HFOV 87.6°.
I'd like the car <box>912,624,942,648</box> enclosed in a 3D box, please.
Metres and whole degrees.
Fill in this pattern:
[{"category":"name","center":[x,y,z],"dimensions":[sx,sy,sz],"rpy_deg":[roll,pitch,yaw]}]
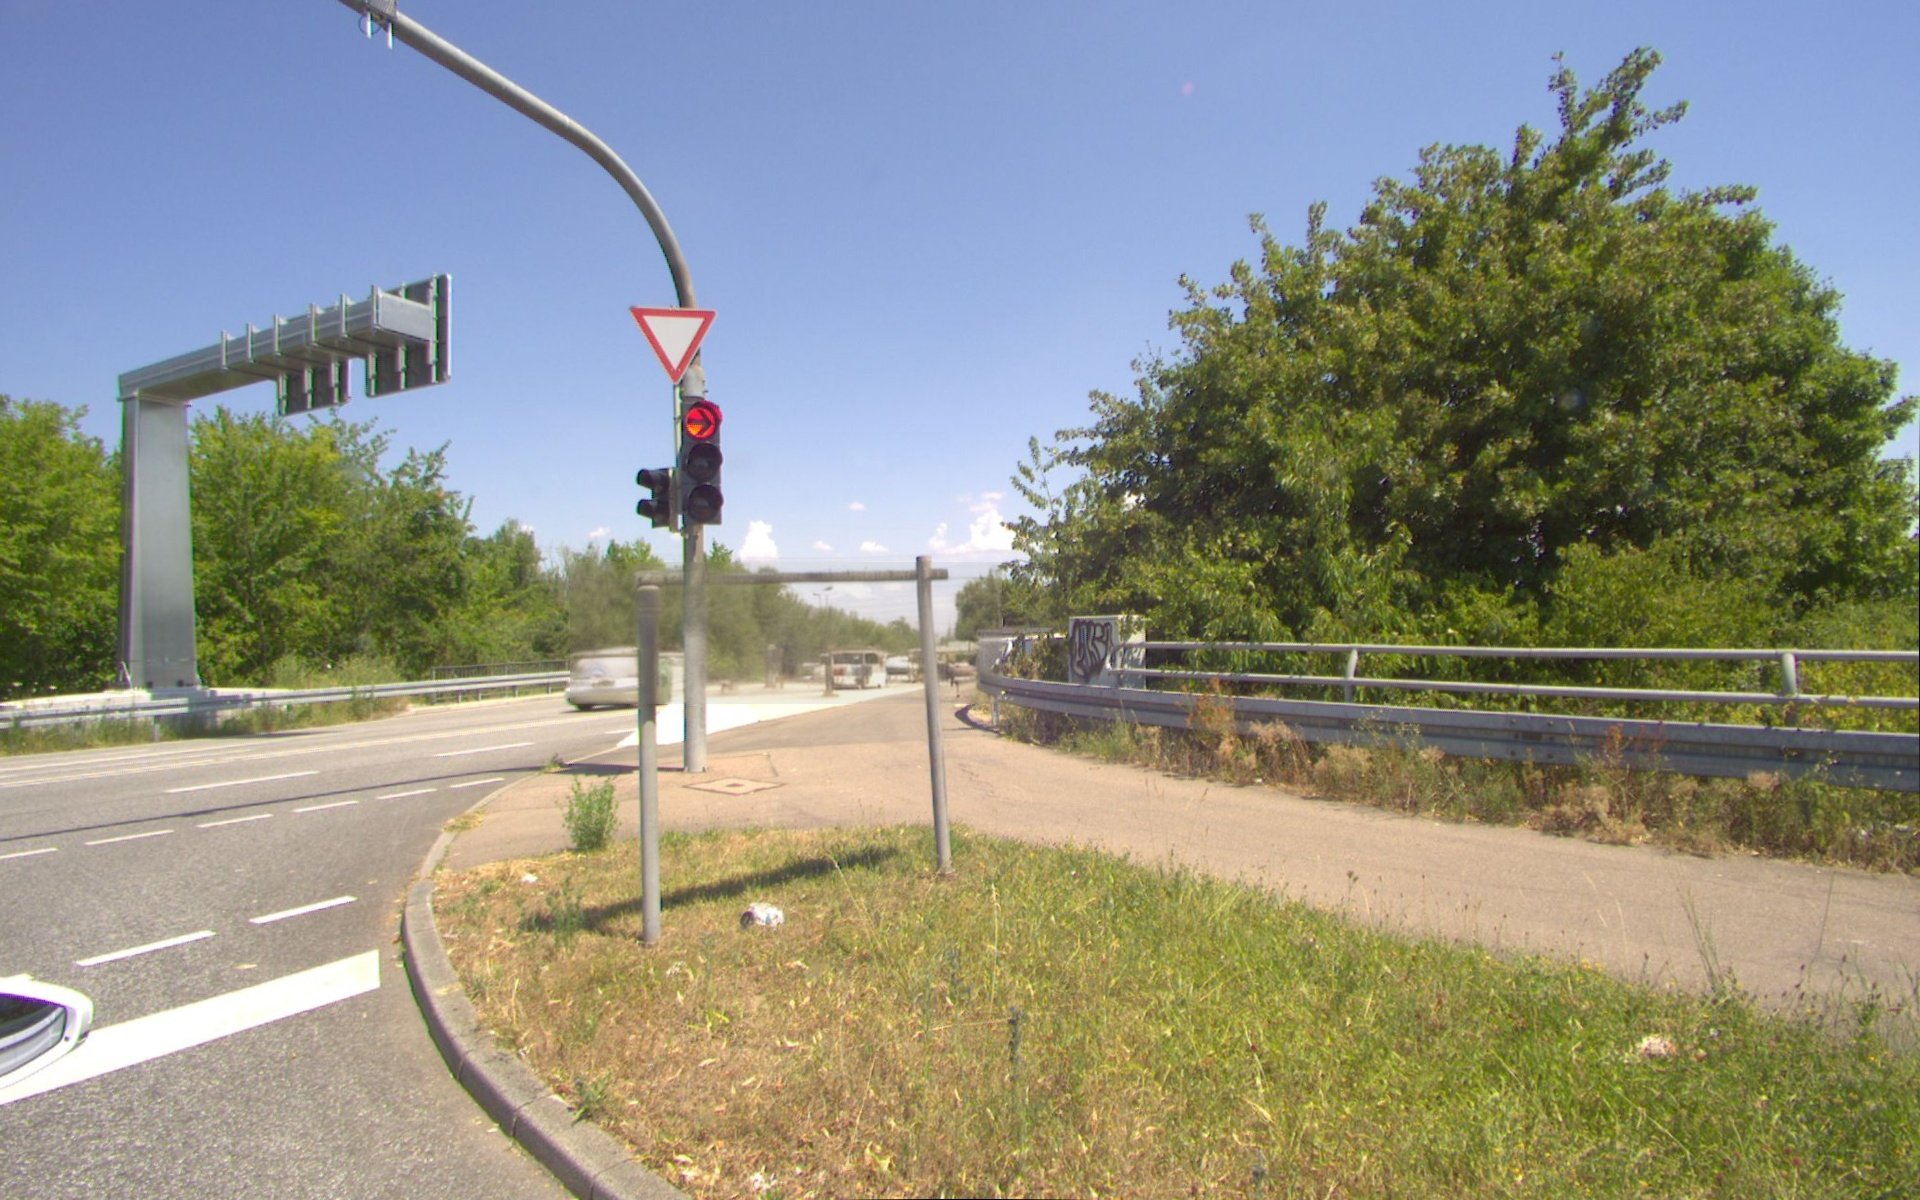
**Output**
[{"category":"car","center":[-2.419,2.667,74.685],"dimensions":[1.868,1.652,4.278],"rpy_deg":[-3,-2,2]}]

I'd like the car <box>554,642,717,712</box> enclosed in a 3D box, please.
[{"category":"car","center":[-7.889,1.845,24.713],"dimensions":[1.619,1.412,3.982],"rpy_deg":[-5,-2,21]}]
